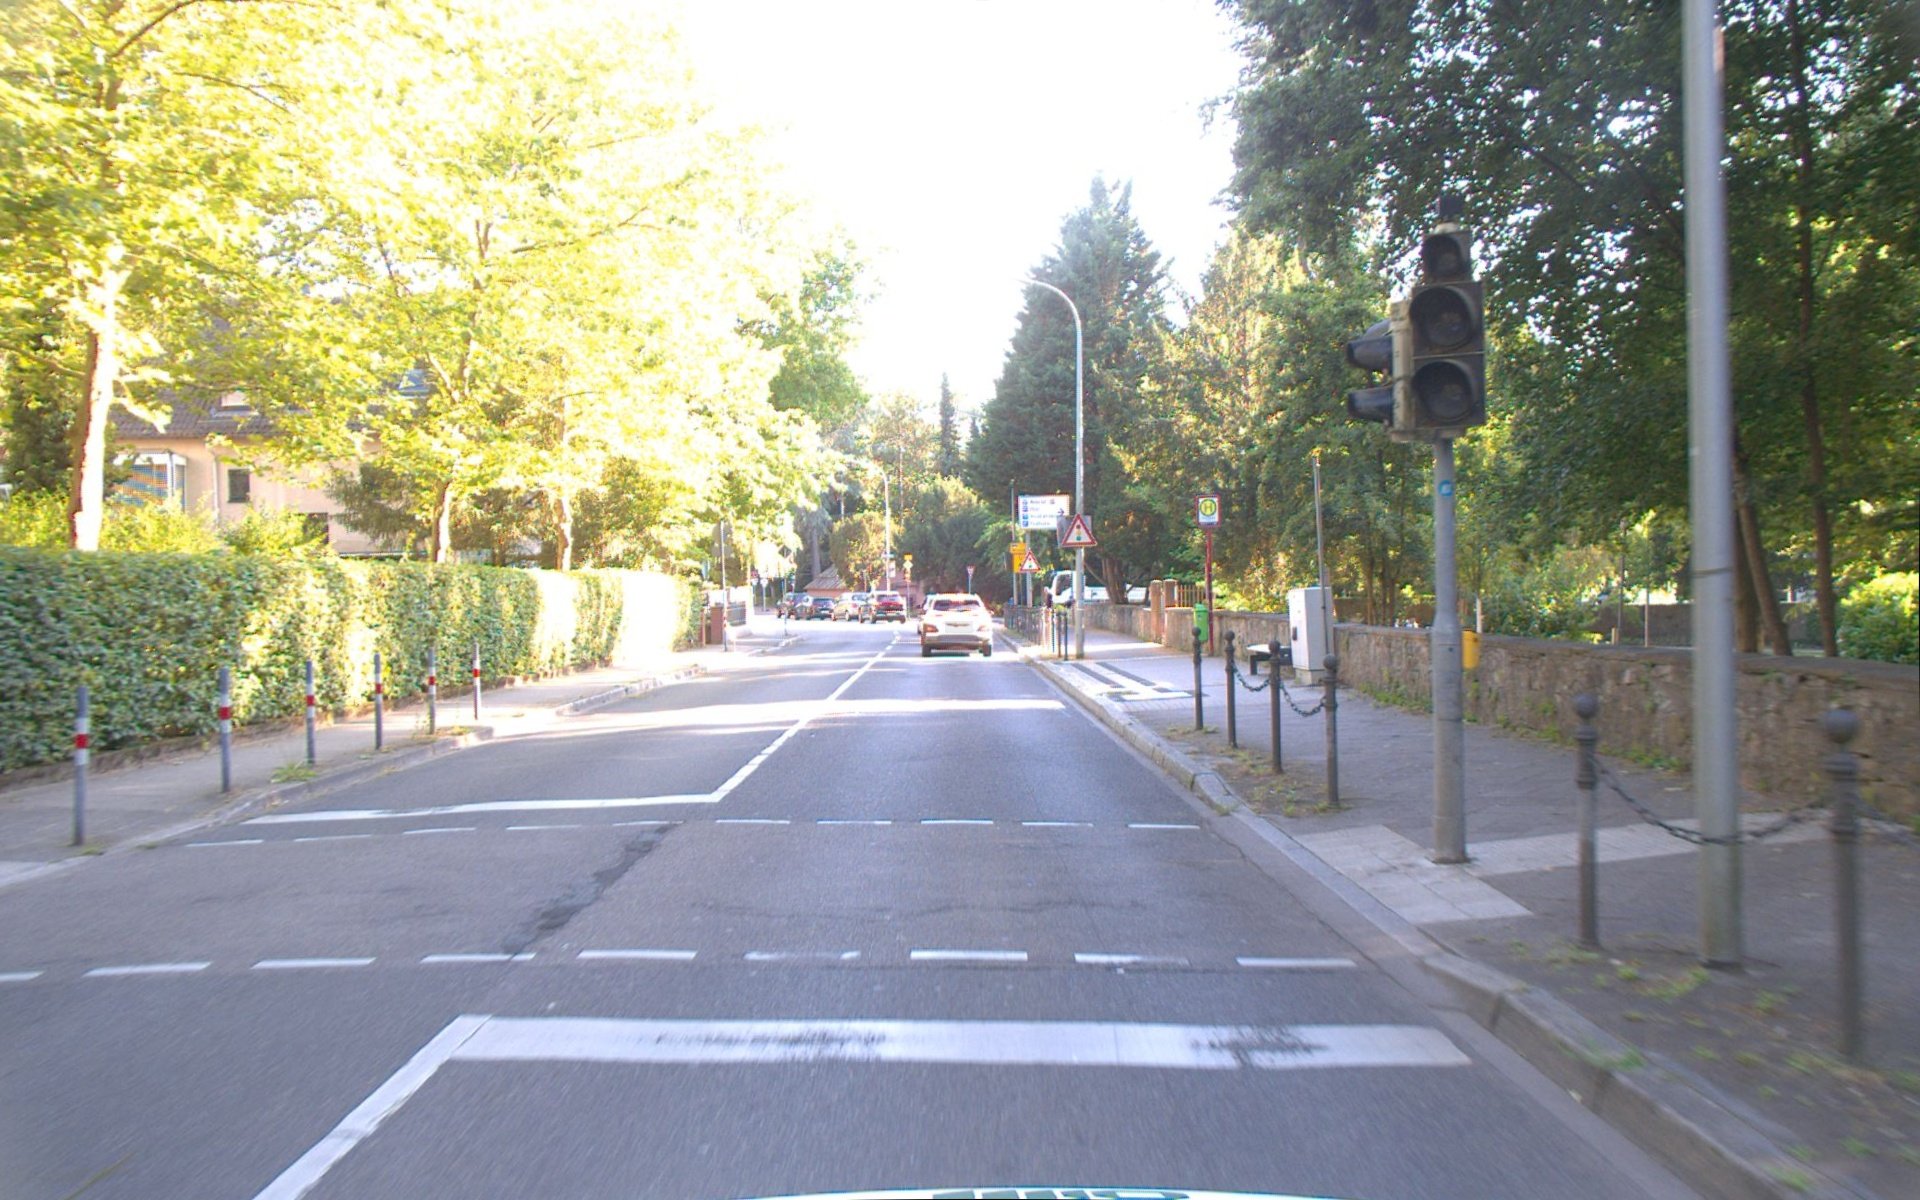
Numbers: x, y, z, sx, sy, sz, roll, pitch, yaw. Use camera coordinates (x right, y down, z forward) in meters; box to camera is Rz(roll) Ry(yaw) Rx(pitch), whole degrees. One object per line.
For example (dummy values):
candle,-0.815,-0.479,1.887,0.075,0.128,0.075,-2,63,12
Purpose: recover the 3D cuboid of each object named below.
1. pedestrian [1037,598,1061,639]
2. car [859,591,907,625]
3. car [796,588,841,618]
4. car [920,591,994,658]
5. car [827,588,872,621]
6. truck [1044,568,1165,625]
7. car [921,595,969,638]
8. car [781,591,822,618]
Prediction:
pedestrian,4.118,0.859,76.436,0.934,1.858,0.547,1,2,-40
car,-3.981,0.382,84.743,1.799,1.691,3.988,1,0,-12
car,-8.444,0.171,98.745,1.803,1.691,3.980,1,1,-18
car,-0.118,0.608,43.151,1.783,1.601,3.999,2,0,-1
car,-6.202,0.235,92.470,1.800,1.771,3.985,1,0,-14
truck,7.880,-0.199,90.249,6.448,2.945,2.434,1,0,4
car,-0.600,0.608,63.414,1.769,1.564,3.999,1,0,-2
car,-10.285,0.291,107.171,1.804,1.691,3.978,1,0,-19
